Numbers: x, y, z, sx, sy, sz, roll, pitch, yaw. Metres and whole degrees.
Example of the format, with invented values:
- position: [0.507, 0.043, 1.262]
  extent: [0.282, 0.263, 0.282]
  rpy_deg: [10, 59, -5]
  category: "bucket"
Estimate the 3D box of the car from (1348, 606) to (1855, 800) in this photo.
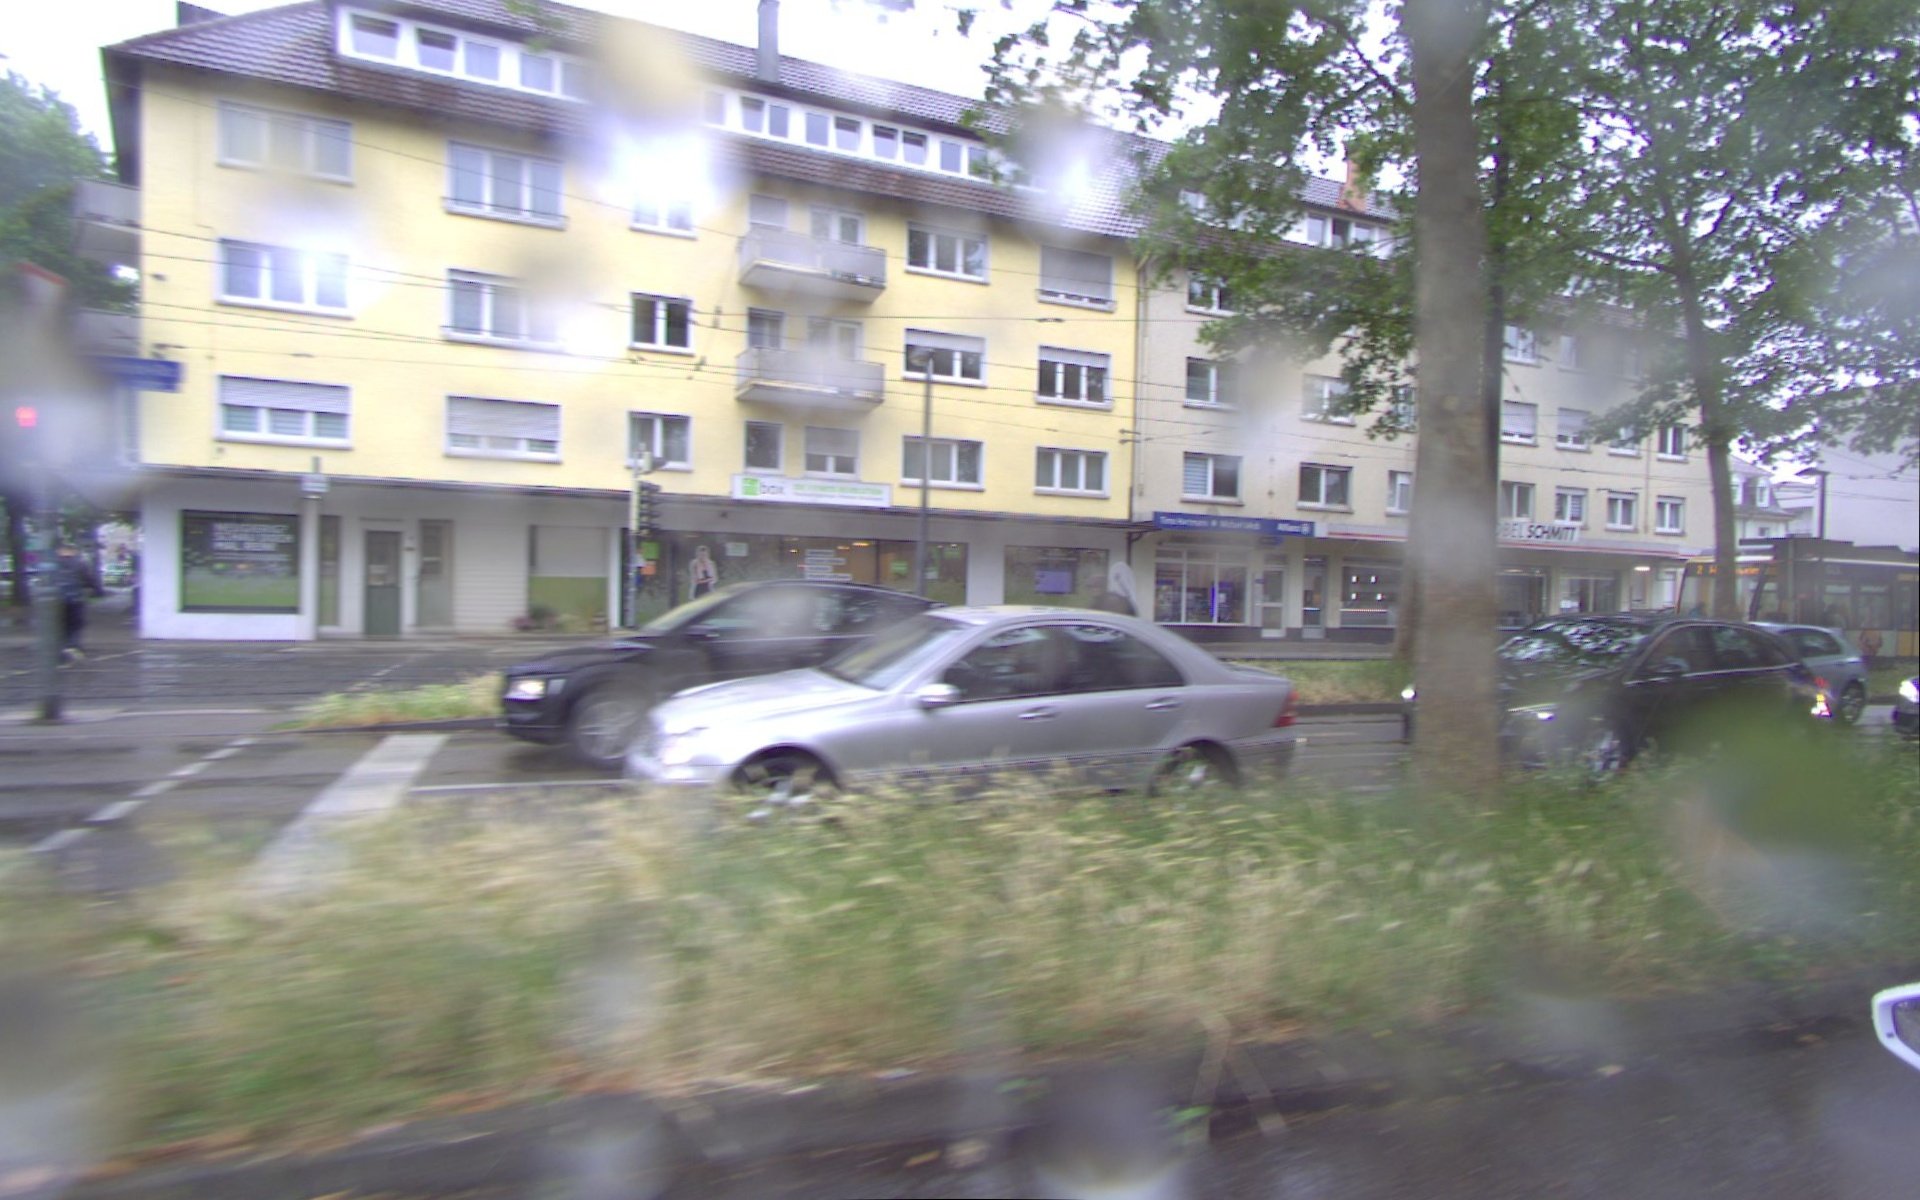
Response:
- position: [6.264, 0.876, 9.808]
  extent: [4.572, 1.505, 1.852]
  rpy_deg: [1, 1, -22]
  category: "car"

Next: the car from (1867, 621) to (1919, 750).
- position: [13.518, 1.073, 12.371]
  extent: [4.367, 1.500, 1.738]
  rpy_deg: [1, 1, -22]
  category: "car"

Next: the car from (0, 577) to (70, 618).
- position: [-41.366, -0.147, 43.279]
  extent: [1.961, 1.634, 3.999]
  rpy_deg: [2, -2, 23]
  category: "car"

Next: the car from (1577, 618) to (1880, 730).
- position: [11.401, 1.041, 14.914]
  extent: [4.070, 1.416, 1.738]
  rpy_deg: [1, 1, -22]
  category: "car"

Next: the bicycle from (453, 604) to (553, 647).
- position: [-10.292, 0.586, 22.694]
  extent: [2.016, 0.909, 0.610]
  rpy_deg: [2, 0, -22]
  category: "bicycle"

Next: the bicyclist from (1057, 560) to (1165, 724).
- position: [1.664, 0.456, 11.131]
  extent: [0.878, 1.739, 0.710]
  rpy_deg: [3, 0, -25]
  category: "bicyclist"

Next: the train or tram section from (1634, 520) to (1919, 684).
- position: [25.128, 0.405, 27.956]
  extent: [14.374, 3.605, 3.099]
  rpy_deg: [5, -1, -23]
  category: "train or tram section"

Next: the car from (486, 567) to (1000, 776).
- position: [-1.940, 0.540, 9.116]
  extent: [4.229, 1.522, 1.866]
  rpy_deg: [1, 1, -27]
  category: "car"

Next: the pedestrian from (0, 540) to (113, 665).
- position: [-12.887, 0.035, 14.315]
  extent: [0.800, 1.700, 1.015]
  rpy_deg: [2, 0, -9]
  category: "pedestrian"

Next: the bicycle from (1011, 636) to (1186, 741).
- position: [1.531, 0.963, 11.072]
  extent: [1.792, 1.045, 0.715]
  rpy_deg: [3, 0, -26]
  category: "bicycle"

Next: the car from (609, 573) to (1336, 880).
- position: [0.094, 0.641, 6.579]
  extent: [4.435, 1.509, 1.731]
  rpy_deg: [1, 1, -22]
  category: "car"
